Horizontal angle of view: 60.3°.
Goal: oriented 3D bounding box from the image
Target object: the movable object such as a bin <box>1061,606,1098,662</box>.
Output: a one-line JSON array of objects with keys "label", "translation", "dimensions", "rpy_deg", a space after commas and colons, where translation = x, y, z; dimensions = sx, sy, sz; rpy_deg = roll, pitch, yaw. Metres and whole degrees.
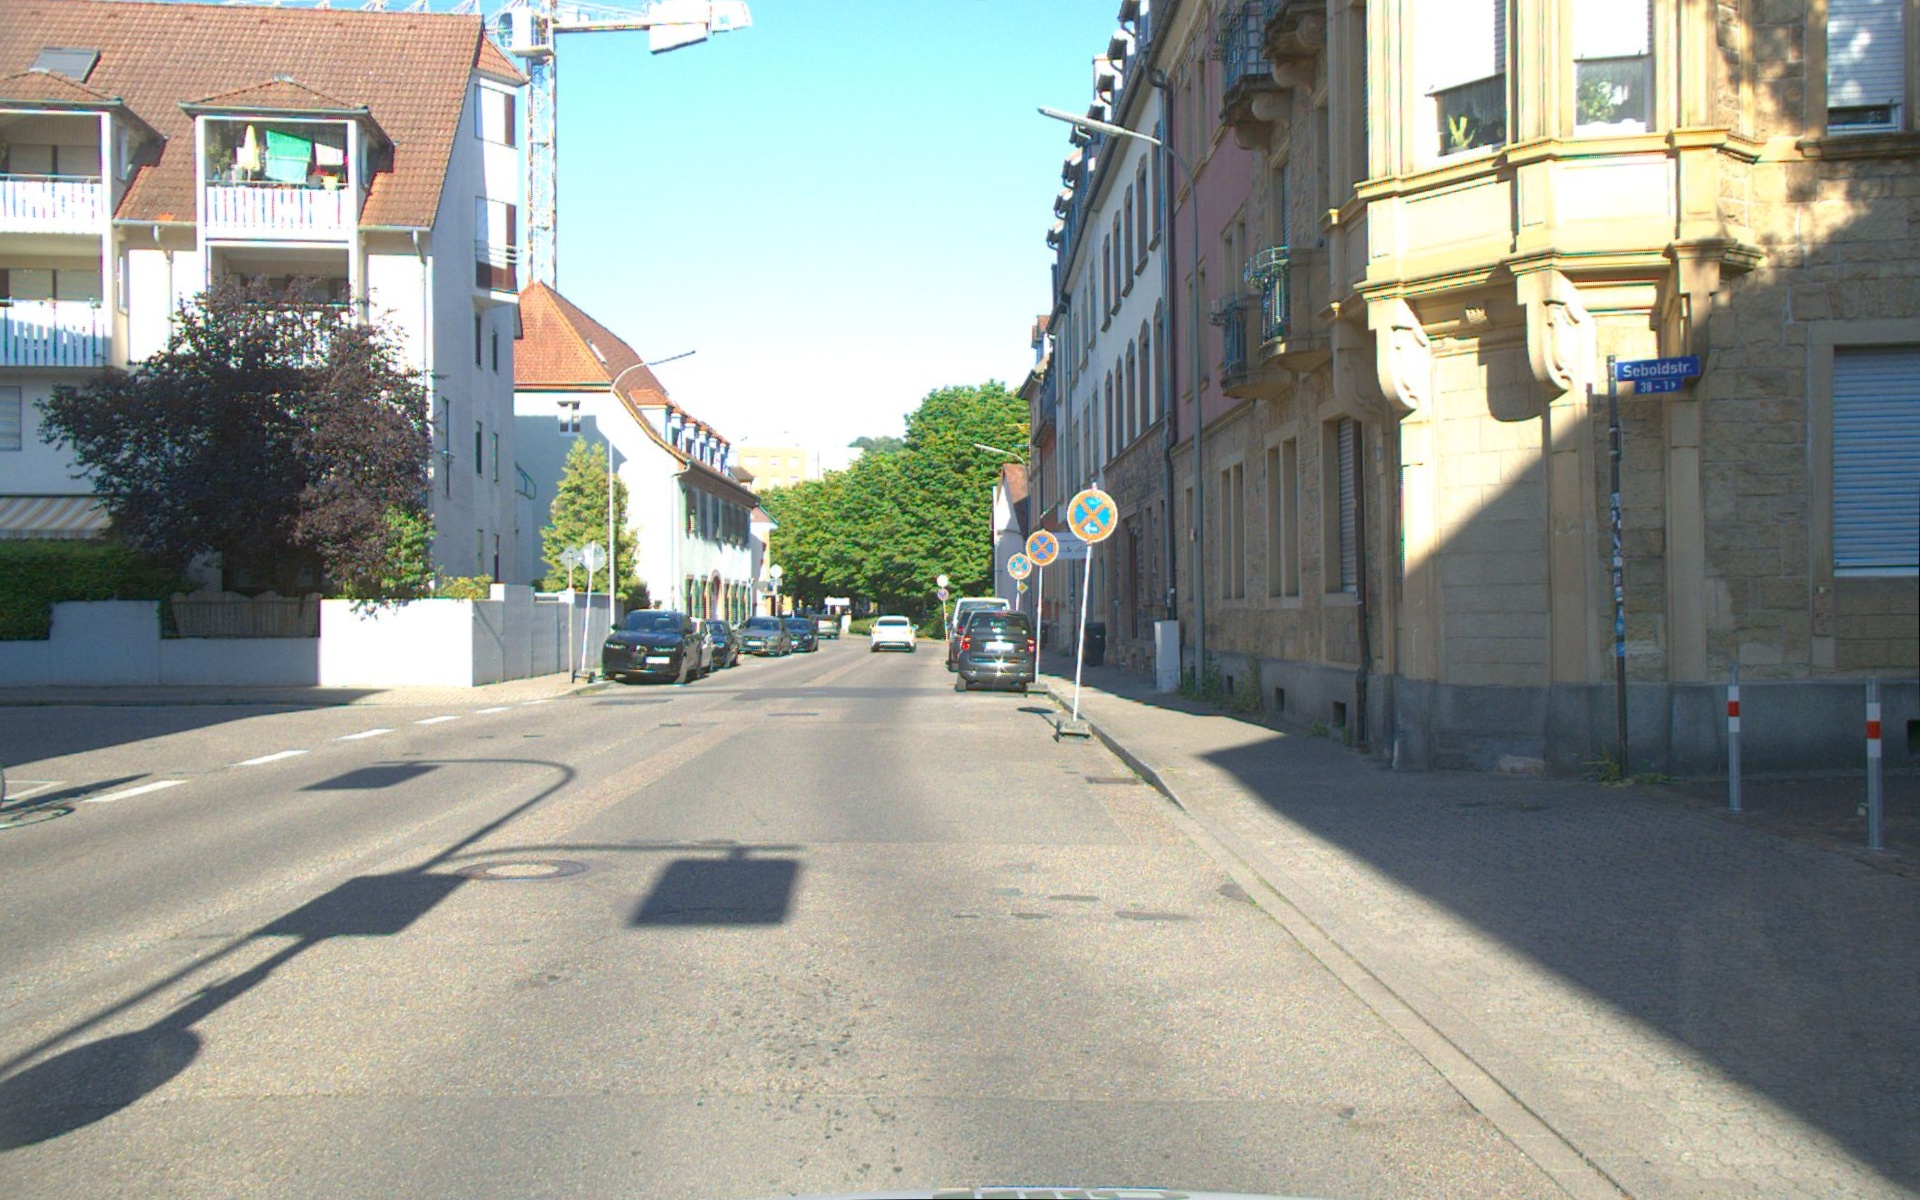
[{"label": "movable object such as a bin", "translation": [3.136, 0.888, 43.445], "dimensions": [0.854, 1.401, 0.684], "rpy_deg": [-2, 1, -3]}]

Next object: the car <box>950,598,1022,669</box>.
[{"label": "car", "translation": [0.703, 0.841, 44.002], "dimensions": [1.780, 1.659, 4.001], "rpy_deg": [-2, 1, 1]}]

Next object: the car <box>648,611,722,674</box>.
[{"label": "car", "translation": [-7.265, 1.105, 43.876], "dimensions": [1.522, 1.483, 3.060], "rpy_deg": [-2, 1, -2]}]

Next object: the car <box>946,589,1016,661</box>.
[{"label": "car", "translation": [0.579, 0.688, 48.920], "dimensions": [1.804, 1.939, 3.999], "rpy_deg": [-2, 1, -2]}]

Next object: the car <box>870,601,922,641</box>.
[{"label": "car", "translation": [-2.599, 0.811, 66.396], "dimensions": [1.954, 1.492, 3.997], "rpy_deg": [-1, 0, -4]}]

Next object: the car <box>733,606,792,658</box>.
[{"label": "car", "translation": [-7.633, 1.204, 64.141], "dimensions": [1.872, 1.790, 4.127], "rpy_deg": [-2, 1, -2]}]

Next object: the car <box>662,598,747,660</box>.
[{"label": "car", "translation": [-7.630, 0.827, 49.689], "dimensions": [2.051, 1.659, 3.820], "rpy_deg": [-2, 1, -2]}]

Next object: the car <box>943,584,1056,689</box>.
[{"label": "car", "translation": [0.709, 0.658, 32.585], "dimensions": [1.970, 1.885, 3.999], "rpy_deg": [0, 1, -2]}]

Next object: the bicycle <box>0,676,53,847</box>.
[{"label": "bicycle", "translation": [-7.791, 1.206, 12.275], "dimensions": [1.750, 1.205, 0.599], "rpy_deg": [-1, 0, -1]}]

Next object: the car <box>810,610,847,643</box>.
[{"label": "car", "translation": [-8.775, 1.756, 110.119], "dimensions": [1.958, 2.049, 3.989], "rpy_deg": [-1, 1, -11]}]
